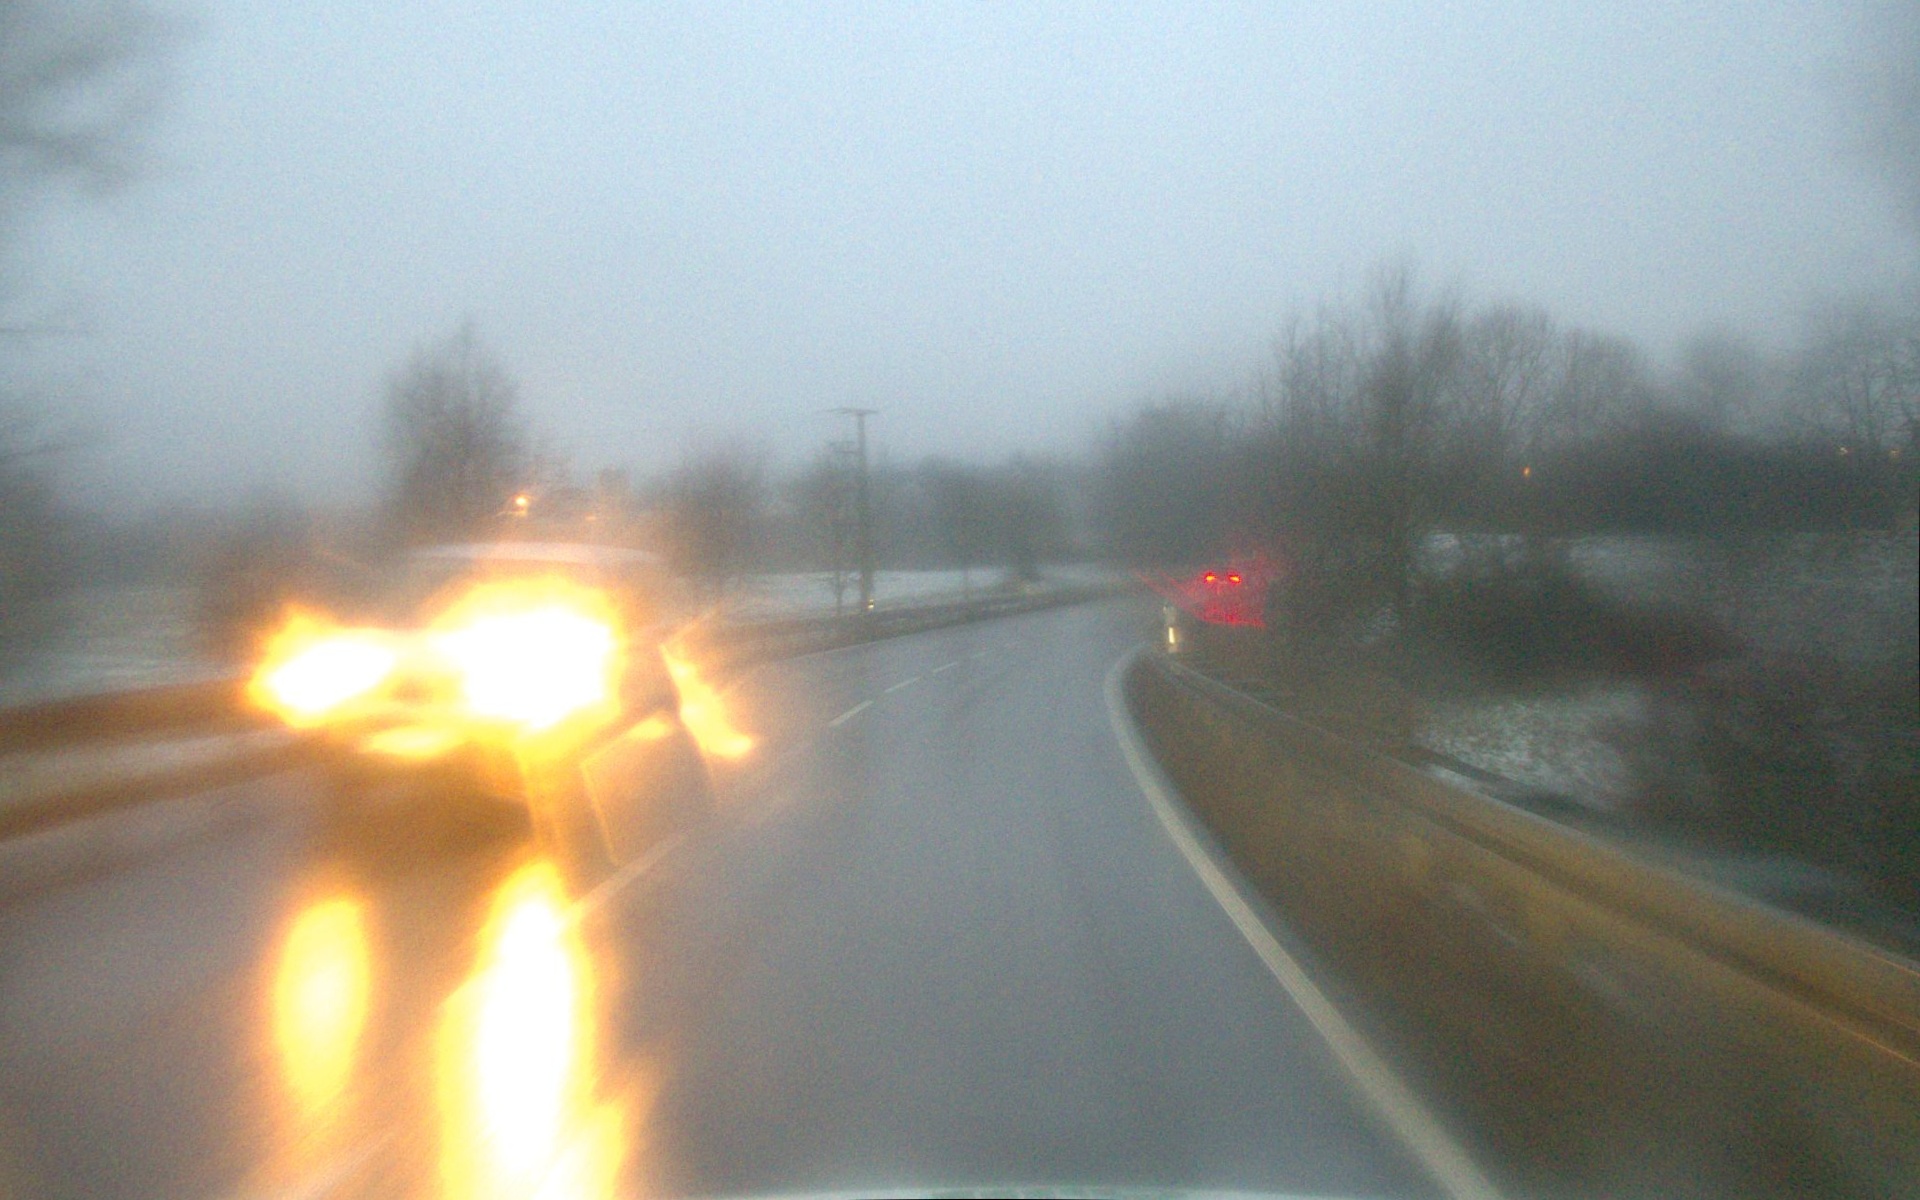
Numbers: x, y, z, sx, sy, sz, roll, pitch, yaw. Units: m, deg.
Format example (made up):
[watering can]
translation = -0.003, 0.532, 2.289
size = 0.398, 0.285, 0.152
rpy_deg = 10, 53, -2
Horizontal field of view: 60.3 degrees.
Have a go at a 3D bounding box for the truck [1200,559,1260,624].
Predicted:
[truck]
translation = 13.771, -0.479, 84.188
size = 2.478, 2.918, 5.929
rpy_deg = -1, 3, 14

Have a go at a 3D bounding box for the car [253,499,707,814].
[car]
translation = -3.298, 0.305, 12.543
size = 1.844, 1.896, 5.008
rpy_deg = 0, 1, 2
